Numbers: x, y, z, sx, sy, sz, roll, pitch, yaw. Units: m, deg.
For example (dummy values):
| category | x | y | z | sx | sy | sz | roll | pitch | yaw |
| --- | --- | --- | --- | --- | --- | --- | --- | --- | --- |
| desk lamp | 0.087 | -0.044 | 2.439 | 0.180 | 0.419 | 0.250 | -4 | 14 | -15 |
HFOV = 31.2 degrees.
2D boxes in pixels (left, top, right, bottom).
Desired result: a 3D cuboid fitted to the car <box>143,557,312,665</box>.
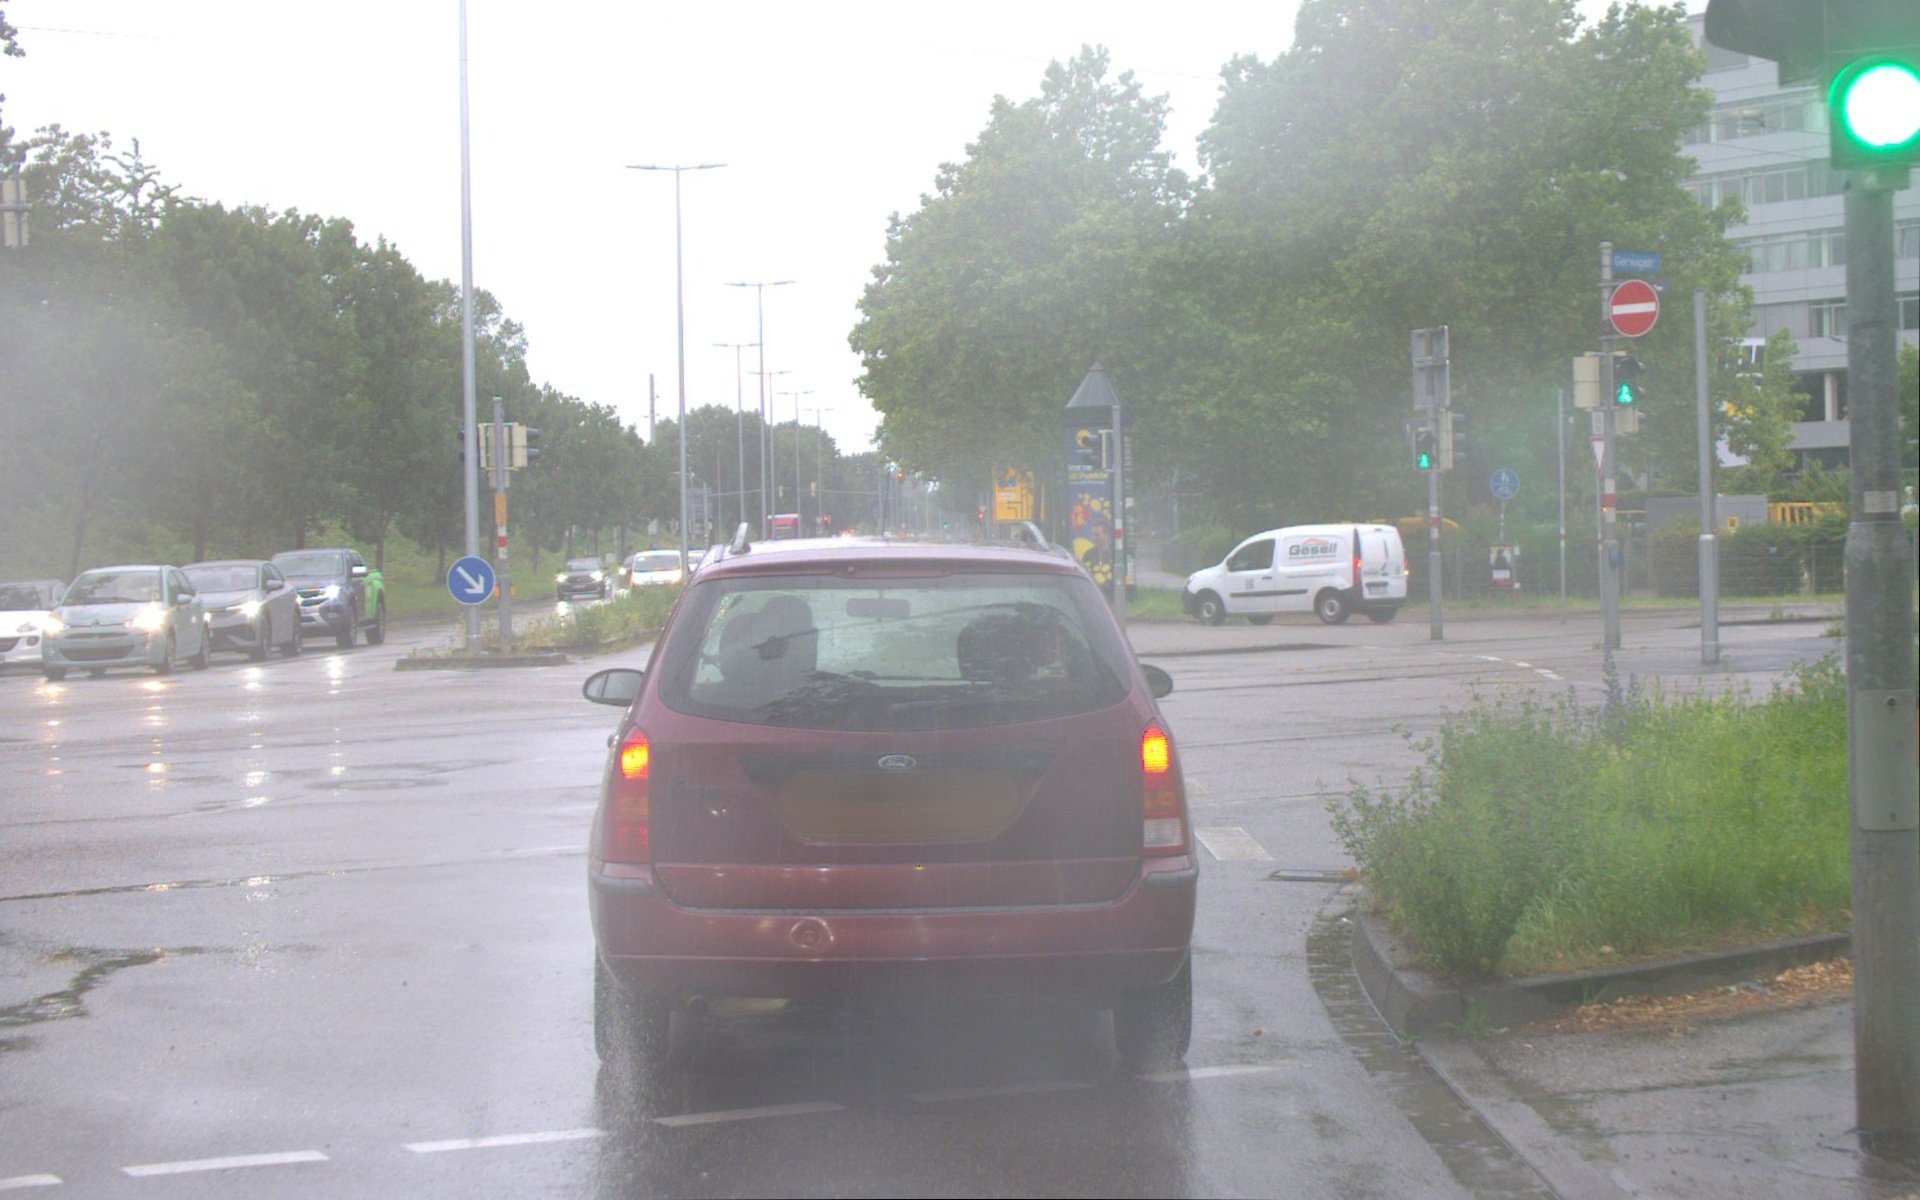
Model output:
| category | x | y | z | sx | sy | sz | roll | pitch | yaw |
| --- | --- | --- | --- | --- | --- | --- | --- | --- | --- |
| car | -11.554 | 0.150 | 54.506 | 1.762 | 1.580 | 4.814 | -2 | 0 | -2 |

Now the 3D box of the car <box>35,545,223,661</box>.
| category | x | y | z | sx | sy | sz | roll | pitch | yaw |
| --- | --- | --- | --- | --- | --- | --- | --- | --- | --- |
| car | -11.431 | 0.008 | 47.512 | 1.638 | 1.468 | 3.965 | -2 | 1 | -1 |

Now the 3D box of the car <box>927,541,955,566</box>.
| category | x | y | z | sx | sy | sz | roll | pitch | yaw |
| --- | --- | --- | --- | --- | --- | --- | --- | --- | --- |
| car | -1.176 | -2.897 | 213.292 | 1.671 | 1.522 | 3.846 | -1 | 1 | 1 |

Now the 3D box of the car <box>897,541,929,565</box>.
| category | x | y | z | sx | sy | sz | roll | pitch | yaw |
| --- | --- | --- | --- | --- | --- | --- | --- | --- | --- |
| car | -3.028 | -3.036 | 221.683 | 1.671 | 1.522 | 3.845 | -1 | 1 | 4 |

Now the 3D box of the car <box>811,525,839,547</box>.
| category | x | y | z | sx | sy | sz | roll | pitch | yaw |
| --- | --- | --- | --- | --- | --- | --- | --- | --- | --- |
| car | -9.269 | -4.390 | 236.042 | 1.698 | 1.522 | 3.846 | -1 | 1 | 1 |

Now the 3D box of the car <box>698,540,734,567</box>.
| category | x | y | z | sx | sy | sz | roll | pitch | yaw |
| --- | --- | --- | --- | --- | --- | --- | --- | --- | --- |
| car | -14.965 | -2.853 | 210.848 | 1.963 | 1.591 | 4.284 | -2 | 1 | -2 |

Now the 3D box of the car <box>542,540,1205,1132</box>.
| category | x | y | z | sx | sy | sz | roll | pitch | yaw |
| --- | --- | --- | --- | --- | --- | --- | --- | --- | --- |
| car | -0.264 | 0.564 | 10.509 | 1.642 | 1.460 | 3.733 | 1 | 1 | -1 |

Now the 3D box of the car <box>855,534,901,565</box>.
| category | x | y | z | sx | sy | sz | roll | pitch | yaw |
| --- | --- | --- | --- | --- | --- | --- | --- | --- | --- |
| car | -4.263 | -2.646 | 179.146 | 2.147 | 1.522 | 4.192 | -1 | 1 | 2 |

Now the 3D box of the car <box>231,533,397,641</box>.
| category | x | y | z | sx | sy | sz | roll | pitch | yaw |
| --- | --- | --- | --- | --- | --- | --- | --- | --- | --- |
| car | -11.694 | -0.281 | 62.572 | 2.065 | 1.813 | 5.542 | -2 | 1 | -2 |

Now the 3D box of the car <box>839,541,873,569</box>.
| category | x | y | z | sx | sy | sz | roll | pitch | yaw |
| --- | --- | --- | --- | --- | --- | --- | --- | --- | --- |
| car | -5.864 | -2.551 | 193.567 | 1.698 | 1.522 | 3.846 | -1 | 1 | 1 |

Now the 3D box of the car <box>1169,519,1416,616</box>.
| category | x | y | z | sx | sy | sz | roll | pitch | yaw |
| --- | --- | --- | --- | --- | --- | --- | --- | --- | --- |
| car | 6.023 | -0.616 | 62.497 | 4.240 | 1.720 | 1.737 | 1 | 1 | 40 |

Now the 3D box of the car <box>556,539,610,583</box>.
| category | x | y | z | sx | sy | sz | roll | pitch | yaw |
| --- | --- | --- | --- | --- | --- | --- | --- | --- | --- |
| car | -14.898 | -1.549 | 136.031 | 1.743 | 1.696 | 4.284 | 1 | 1 | -2 |

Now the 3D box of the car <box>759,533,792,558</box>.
| category | x | y | z | sx | sy | sz | roll | pitch | yaw |
| --- | --- | --- | --- | --- | --- | --- | --- | --- | --- |
| car | -12.170 | -3.587 | 226.695 | 1.963 | 1.591 | 4.284 | -2 | 1 | -1 |

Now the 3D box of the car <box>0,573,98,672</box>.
| category | x | y | z | sx | sy | sz | roll | pitch | yaw |
| --- | --- | --- | --- | --- | --- | --- | --- | --- | --- |
| car | -14.456 | 0.336 | 52.689 | 1.590 | 1.399 | 3.823 | -2 | 1 | -2 |

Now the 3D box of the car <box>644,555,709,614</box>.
| category | x | y | z | sx | sy | sz | roll | pitch | yaw |
| --- | --- | --- | --- | --- | --- | --- | --- | --- | --- |
| car | -8.892 | -0.508 | 108.029 | 1.743 | 1.696 | 4.284 | -3 | 1 | -2 |

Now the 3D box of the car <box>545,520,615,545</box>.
| category | x | y | z | sx | sy | sz | roll | pitch | yaw |
| --- | --- | --- | --- | --- | --- | --- | --- | --- | --- |
| car | -25.921 | -4.617 | 234.740 | 4.271 | 1.591 | 1.969 | -3 | 1 | -36 |

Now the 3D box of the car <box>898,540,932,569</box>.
| category | x | y | z | sx | sy | sz | roll | pitch | yaw |
| --- | --- | --- | --- | --- | --- | --- | --- | --- | --- |
| car | -2.424 | -2.473 | 185.429 | 1.698 | 1.522 | 3.846 | -1 | 1 | 1 |
